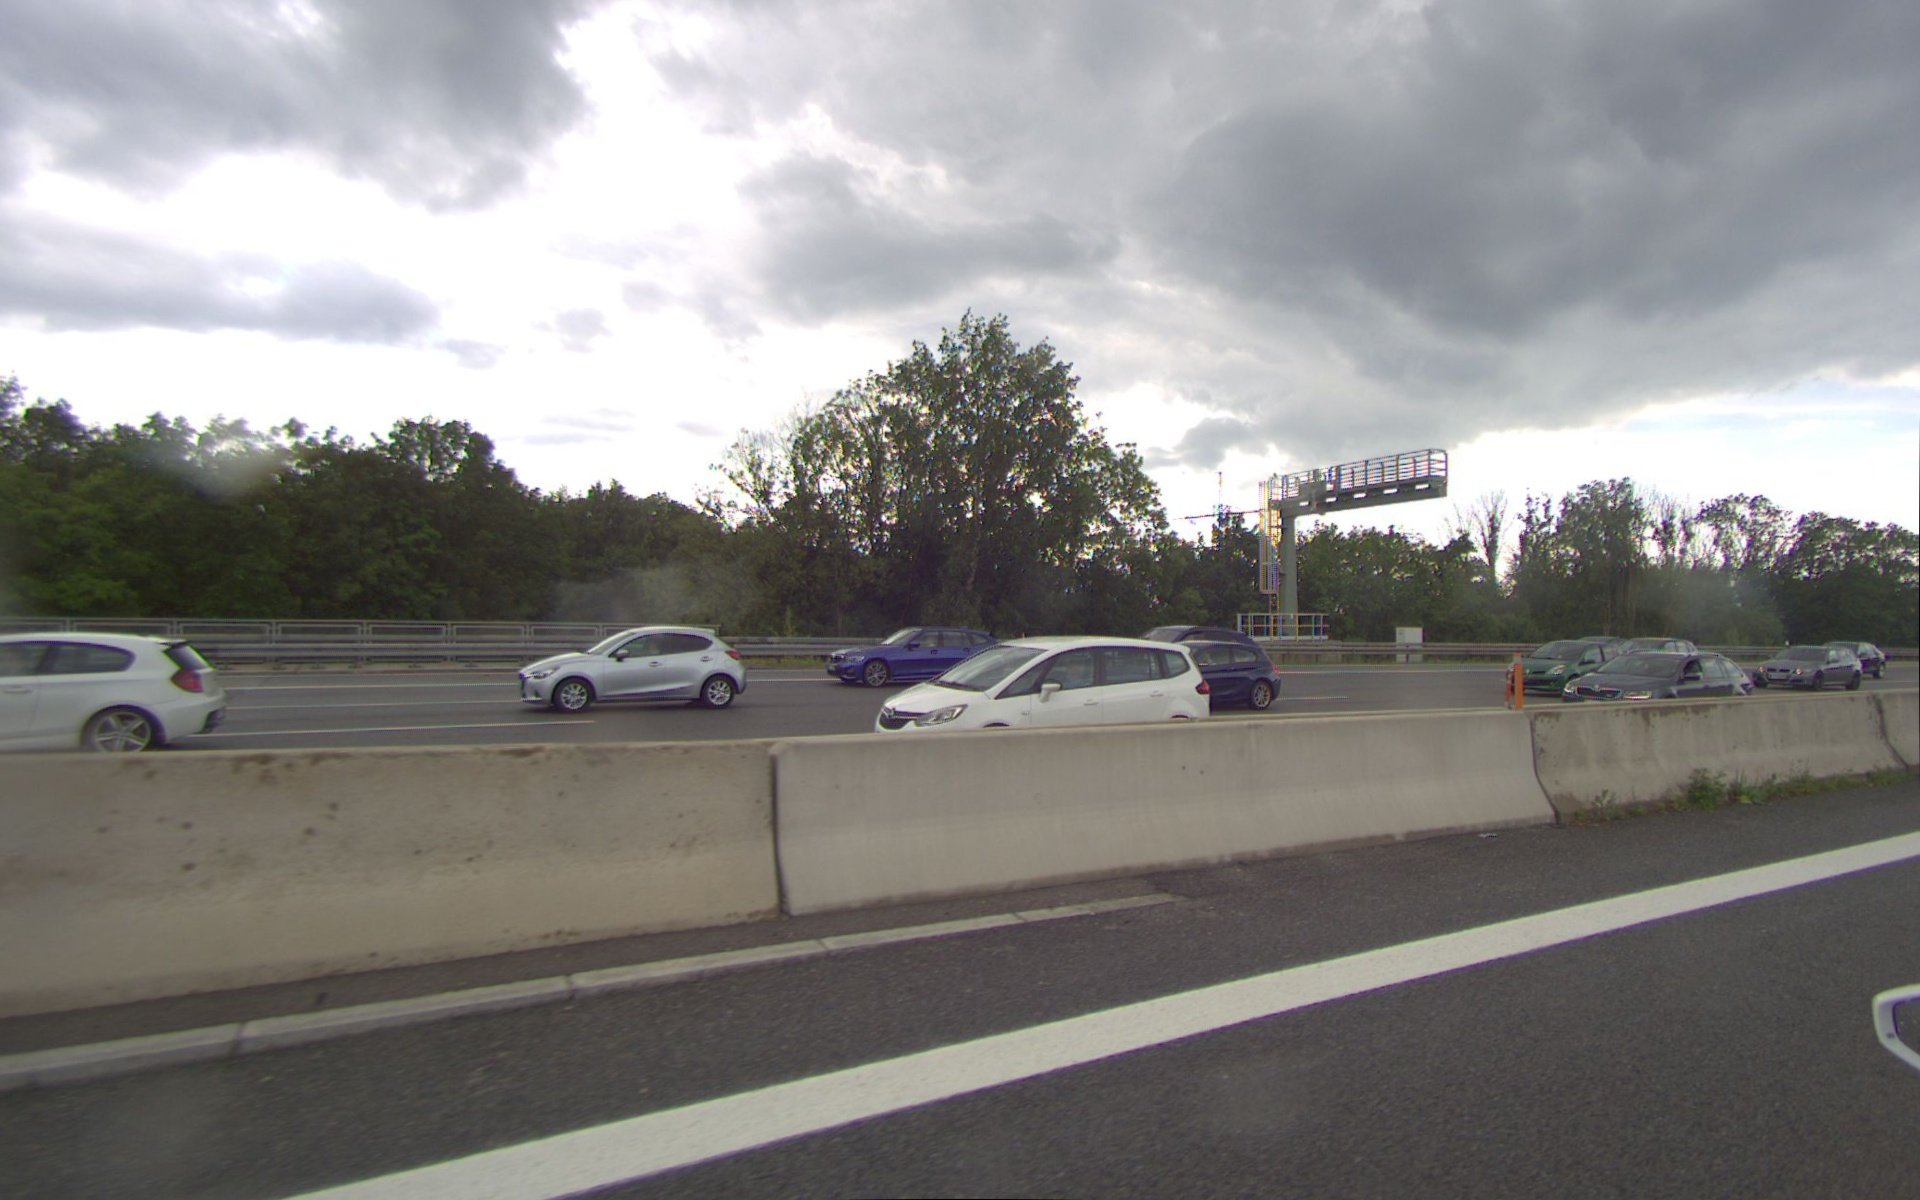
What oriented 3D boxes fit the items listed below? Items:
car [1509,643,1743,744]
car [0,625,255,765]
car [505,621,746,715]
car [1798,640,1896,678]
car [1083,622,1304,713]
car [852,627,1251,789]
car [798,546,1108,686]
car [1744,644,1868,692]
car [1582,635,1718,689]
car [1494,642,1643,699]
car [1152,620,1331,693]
[{"bbox_3d":[12.968,1.728,19.468,4.933,1.668,1.715,2,0,-30],"label":"car"},{"bbox_3d":[-10.949,1.047,11.518,4.464,1.434,1.715,2,0,-29],"label":"car"},{"bbox_3d":[-6.089,1.197,18.374,3.914,1.498,1.714,2,0,-31],"label":"car"},{"bbox_3d":[37.991,2.515,42.997,4.464,1.447,1.715,2,0,-29],"label":"car"},{"bbox_3d":[4.908,1.369,20.992,4.464,1.668,1.715,2,0,-29],"label":"car"},{"bbox_3d":[1.256,1.254,12.774,4.938,1.668,1.715,2,0,-30],"label":"car"},{"bbox_3d":[-0.062,0.461,26.620,7.846,3.283,2.715,2,0,-30],"label":"car"},{"bbox_3d":[28.717,2.288,34.072,4.464,1.447,1.715,2,0,-29],"label":"car"},{"bbox_3d":[23.987,2.125,34.861,5.172,1.668,1.715,2,0,-29],"label":"car"},{"bbox_3d":[16.870,1.932,27.806,4.150,1.437,1.716,2,-2,-29],"label":"car"},{"bbox_3d":[7.218,1.423,25.642,4.464,1.668,1.715,2,0,-29],"label":"car"}]
